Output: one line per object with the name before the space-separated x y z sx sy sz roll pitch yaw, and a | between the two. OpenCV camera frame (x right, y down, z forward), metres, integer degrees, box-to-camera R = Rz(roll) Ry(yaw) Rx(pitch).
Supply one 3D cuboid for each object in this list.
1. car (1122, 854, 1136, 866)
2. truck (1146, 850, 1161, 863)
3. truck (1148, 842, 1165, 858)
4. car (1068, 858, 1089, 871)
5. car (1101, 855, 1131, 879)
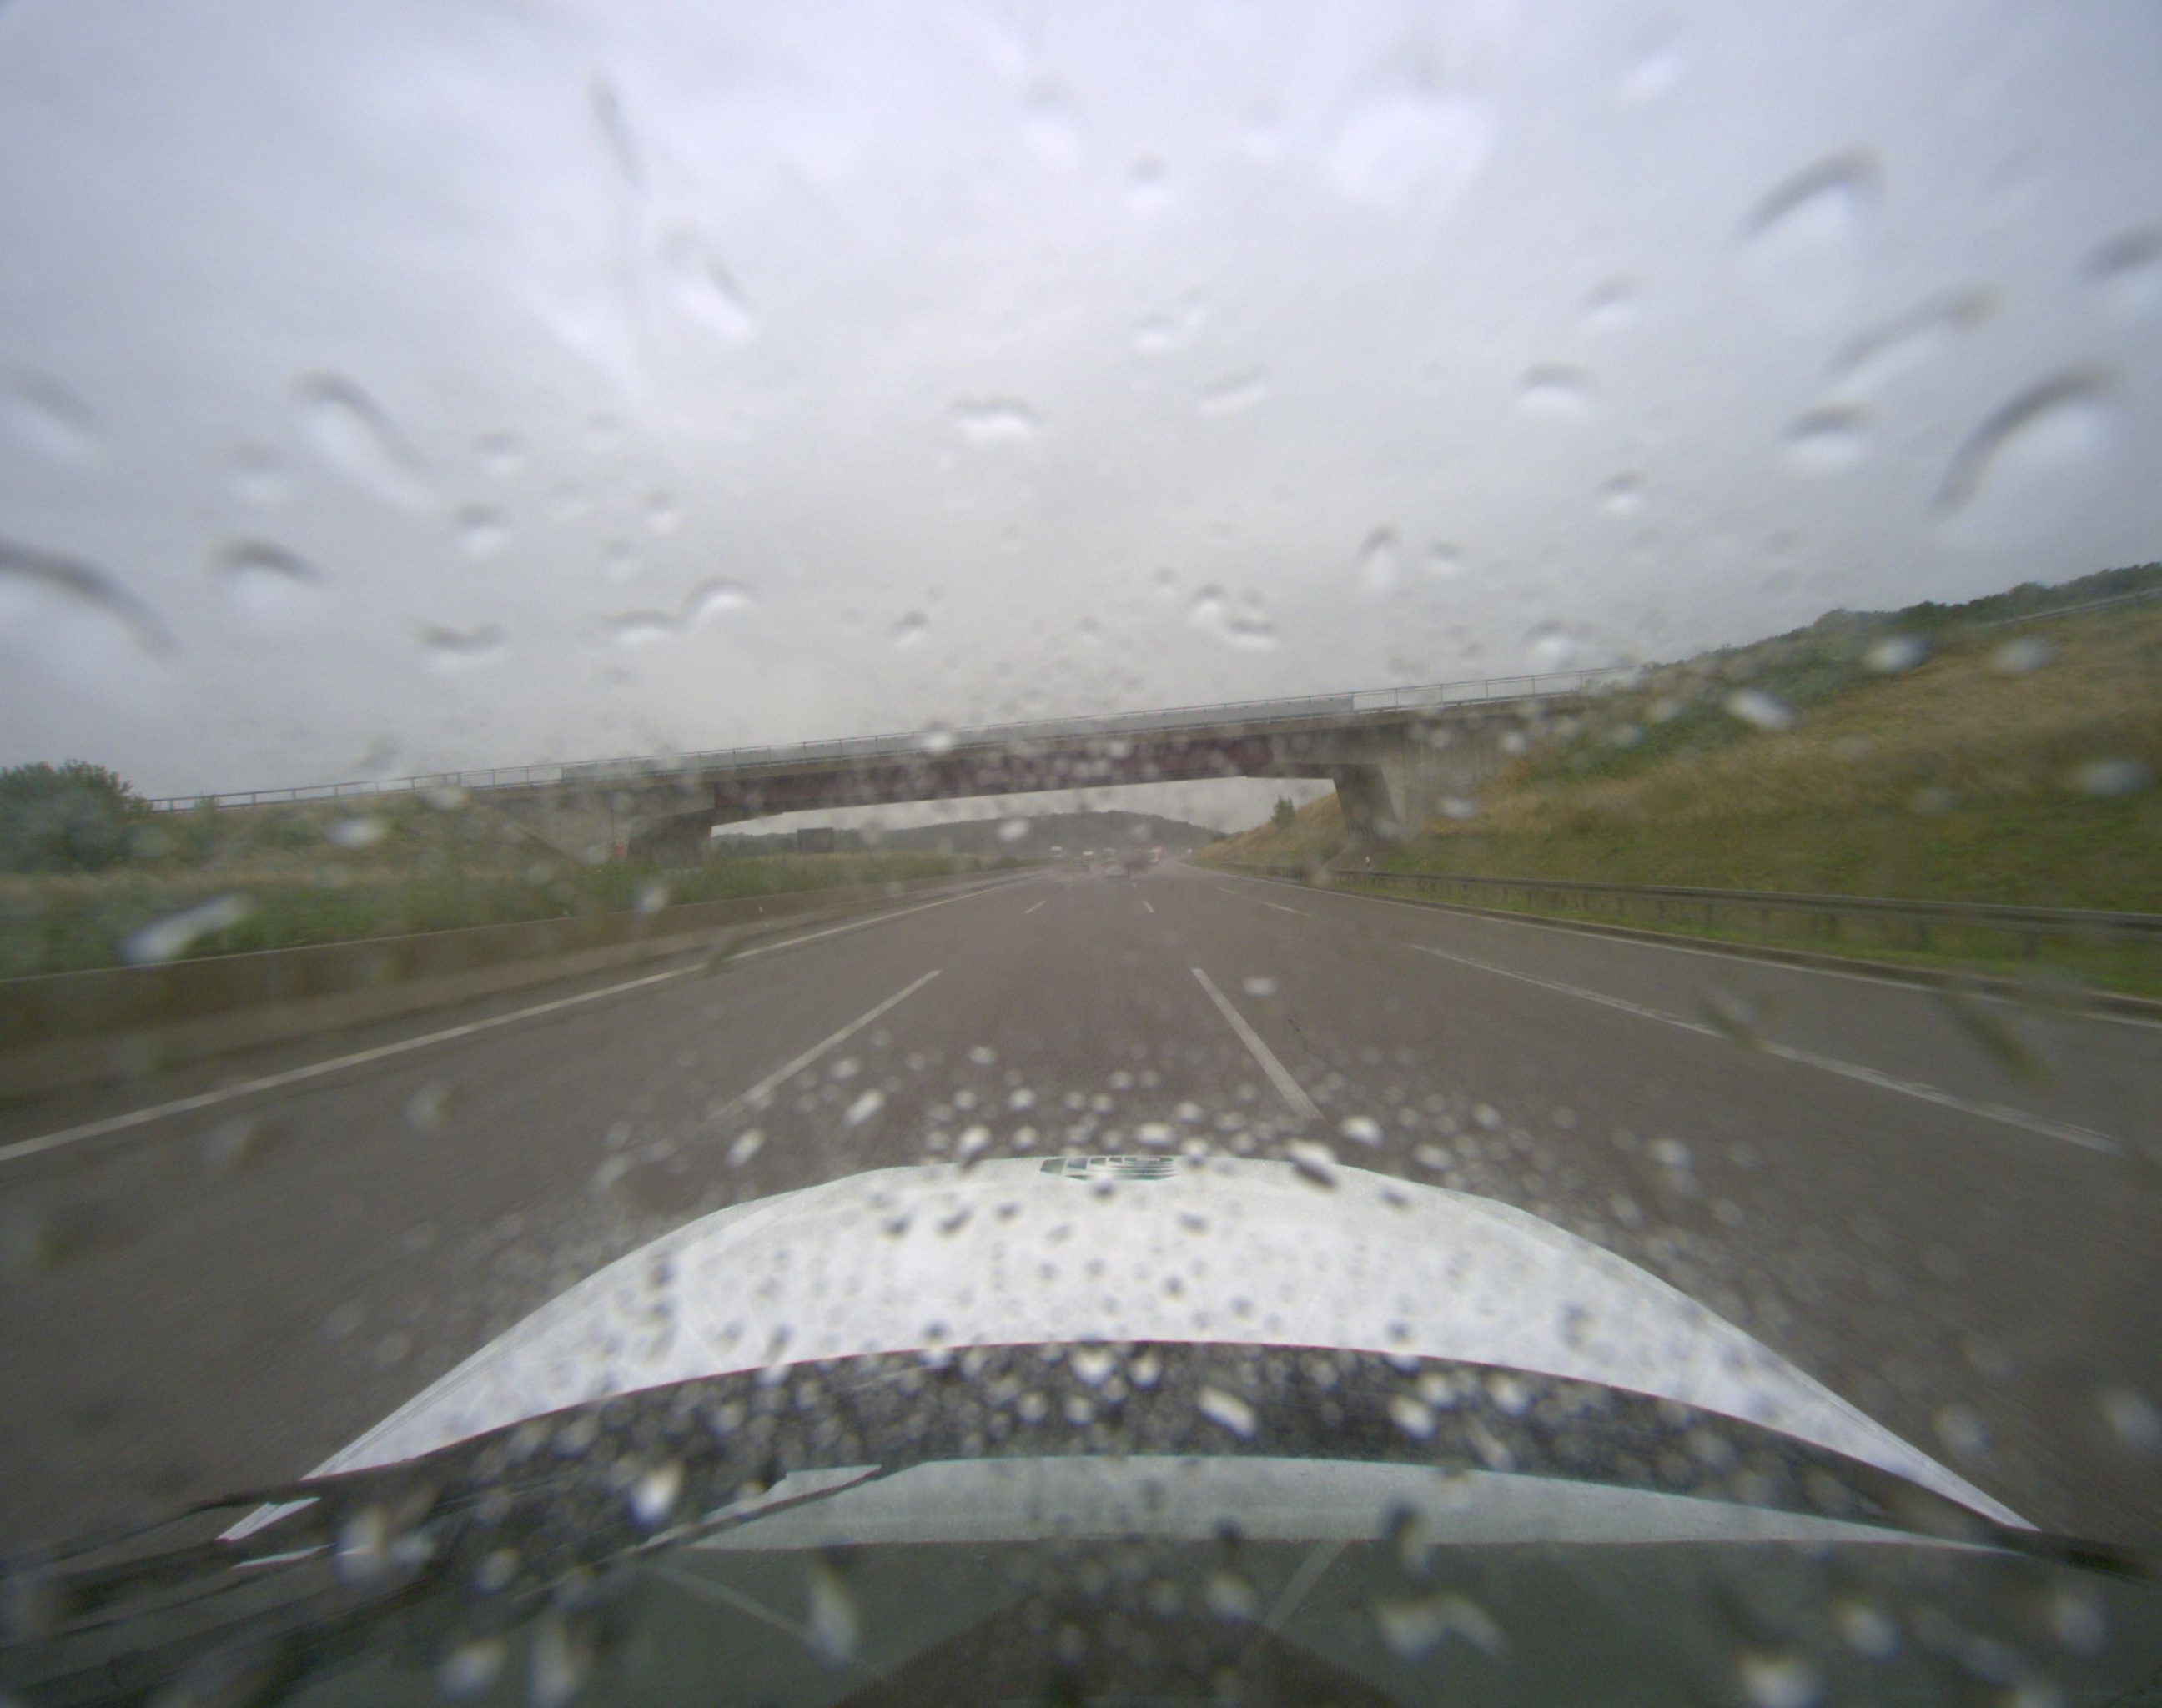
car | 7.069 0.865 119.385 1.985 1.618 4.004 -1 0 4
truck | 12.517 0.437 140.730 2.396 2.252 4.700 -1 0 6
truck | 17.676 -0.955 190.610 3.512 3.742 11.436 -1 1 3
car | -0.204 0.976 73.991 1.818 1.156 4.212 0 -1 0
car | 2.222 0.846 52.586 1.861 1.463 4.000 -1 -1 1
